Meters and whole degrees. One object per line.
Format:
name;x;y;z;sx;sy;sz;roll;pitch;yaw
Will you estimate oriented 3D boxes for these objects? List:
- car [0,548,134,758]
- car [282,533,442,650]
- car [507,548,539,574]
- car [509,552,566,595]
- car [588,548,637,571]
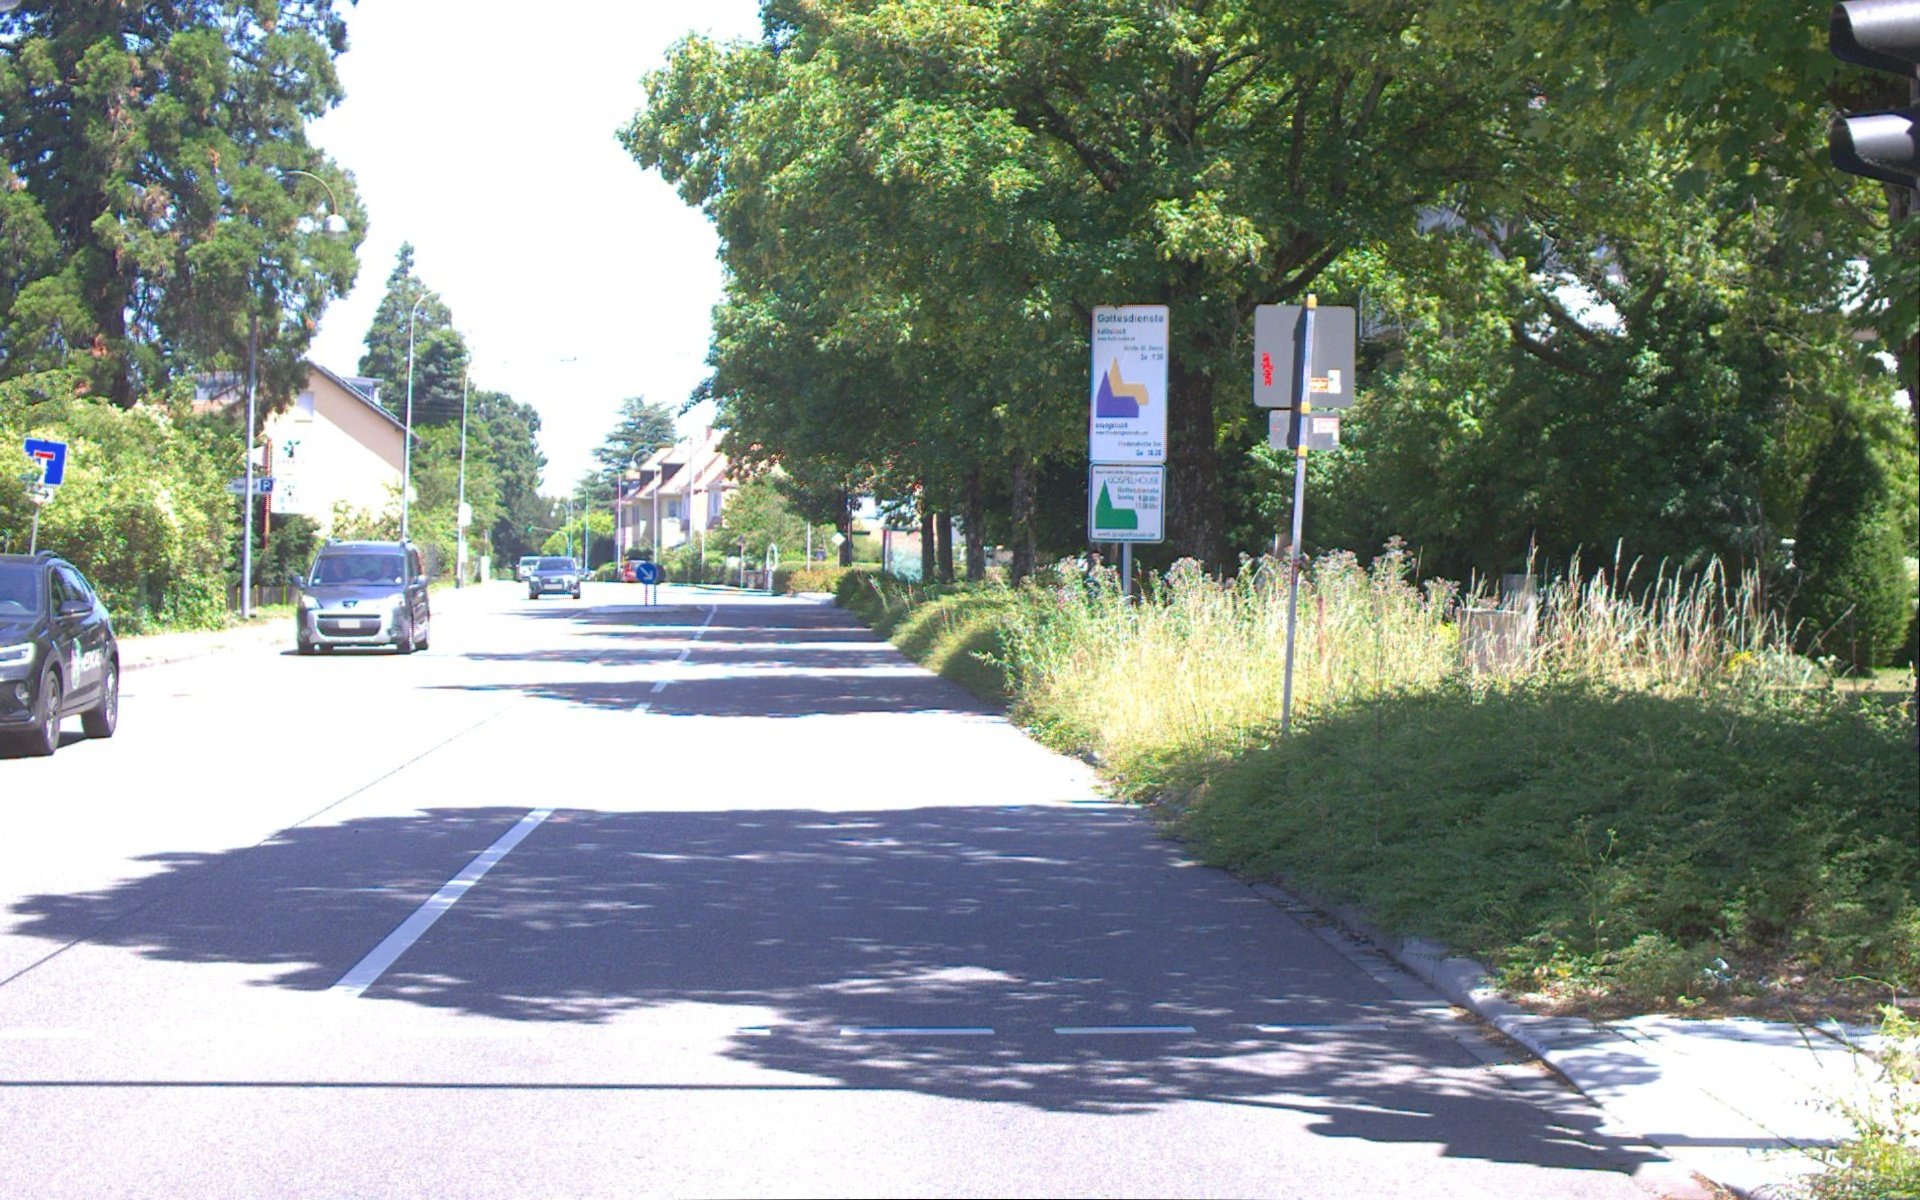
car;-7.657;0.351;26.554;1.869;1.501;4.053;0;1;-5
car;-9.420;-0.166;54.484;1.811;1.756;4.570;1;1;-1
car;-28.508;-2.537;224.338;1.680;1.678;4.000;0;1;-2
car;-15.615;-0.994;127.269;1.793;1.531;4.316;0;1;-3
car;-20.735;-2.424;205.087;1.943;1.355;4.465;0;1;-19
